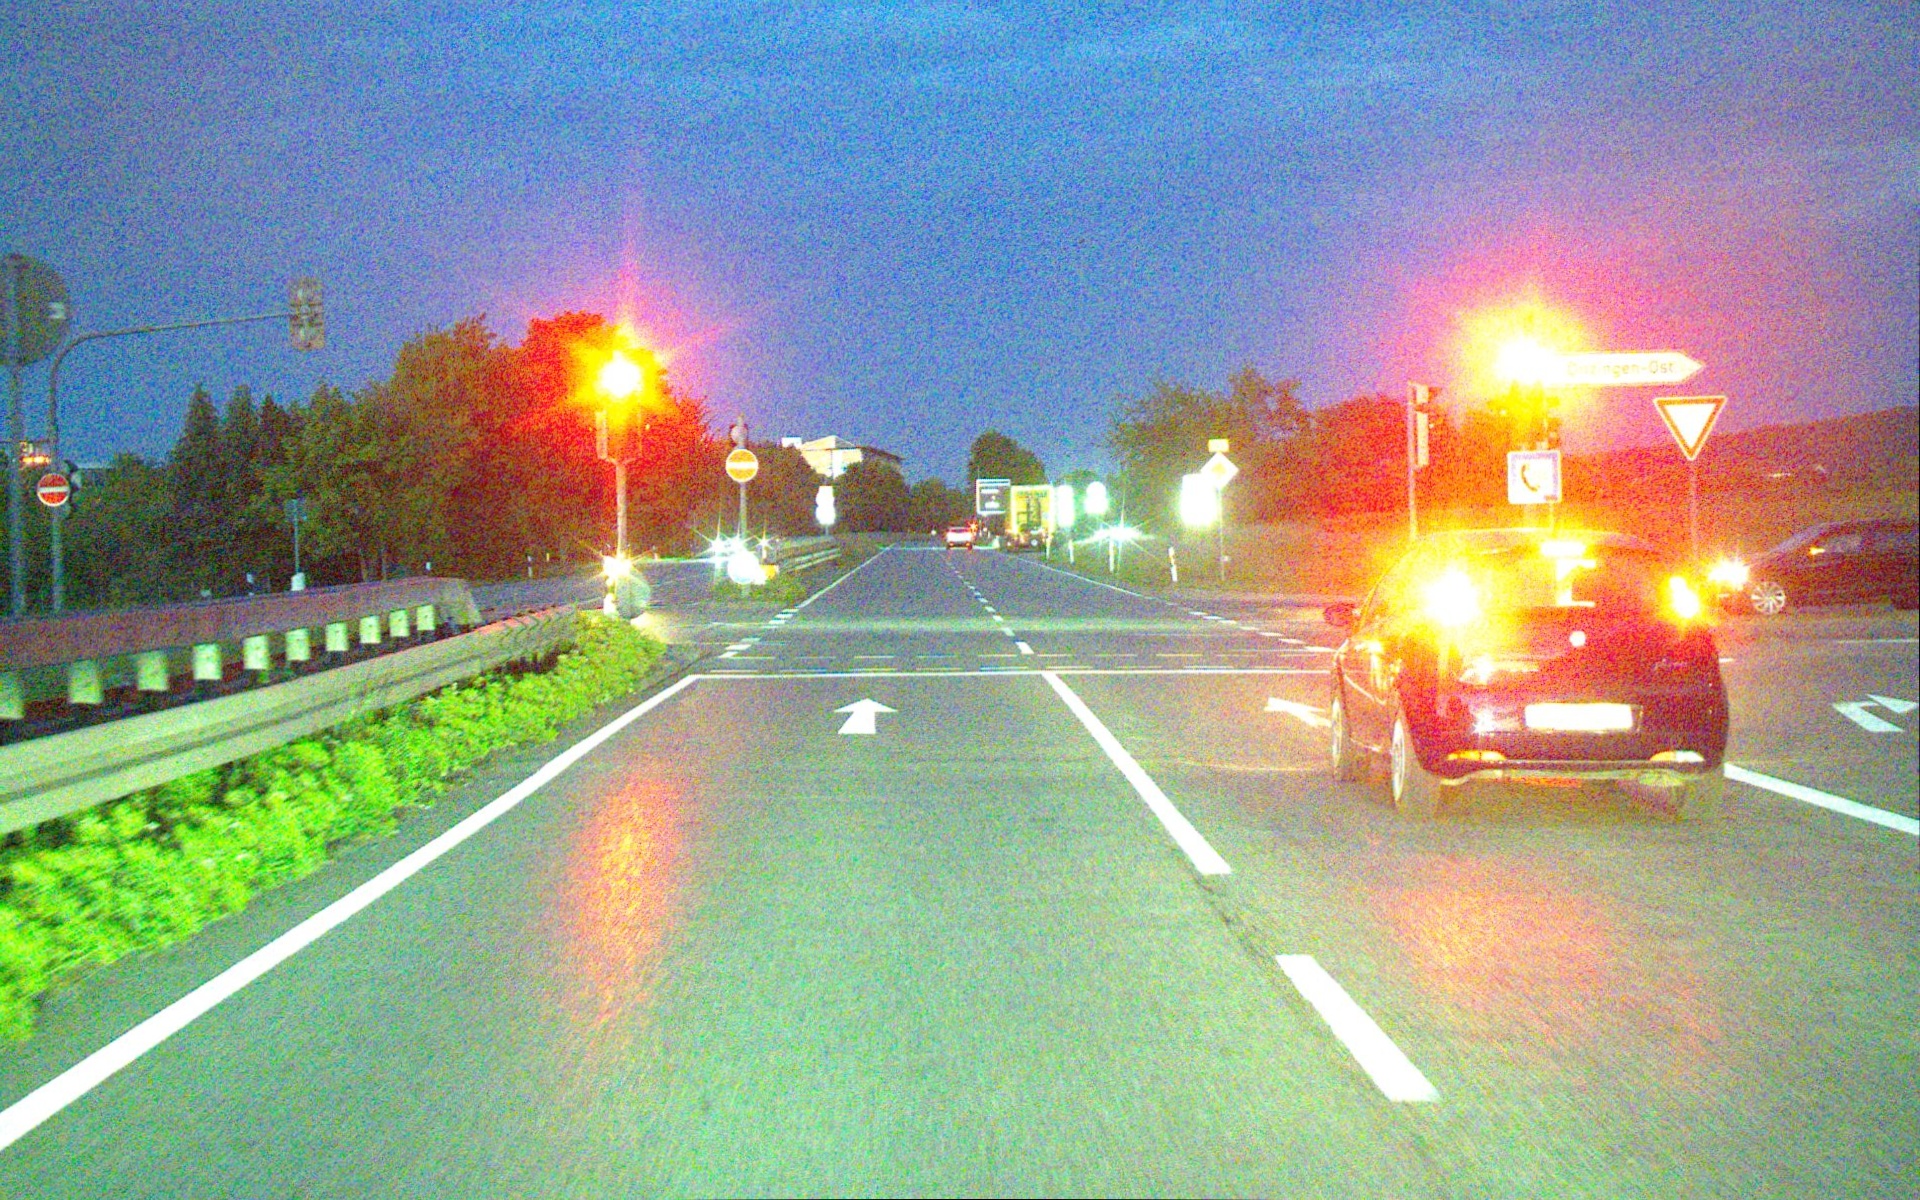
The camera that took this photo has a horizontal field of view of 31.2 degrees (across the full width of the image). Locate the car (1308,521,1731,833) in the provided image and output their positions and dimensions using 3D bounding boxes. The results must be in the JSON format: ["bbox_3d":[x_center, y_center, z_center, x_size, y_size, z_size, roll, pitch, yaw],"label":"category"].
[{"bbox_3d":[2.943,0.331,18.861,1.670,1.515,4.106,0,1,0],"label":"car"}]

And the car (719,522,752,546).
[{"bbox_3d":[-15.289,-4.510,234.426,1.993,1.514,4.298,-1,1,-1],"label":"car"}]

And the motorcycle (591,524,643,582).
[{"bbox_3d":[-6.932,-0.958,69.357,0.979,1.095,2.509,-2,2,-6],"label":"motorcycle"}]

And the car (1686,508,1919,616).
[{"bbox_3d":[13.824,-0.618,53.476,4.600,1.515,2.000,-2,1,0],"label":"car"}]

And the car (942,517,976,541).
[{"bbox_3d":[-0.072,-5.014,242.913,2.273,1.626,4.001,-1,1,-2],"label":"car"}]

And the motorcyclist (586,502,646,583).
[{"bbox_3d":[-6.931,-1.168,69.269,1.137,1.579,0.973,-2,1,-7],"label":"motorcyclist"}]
